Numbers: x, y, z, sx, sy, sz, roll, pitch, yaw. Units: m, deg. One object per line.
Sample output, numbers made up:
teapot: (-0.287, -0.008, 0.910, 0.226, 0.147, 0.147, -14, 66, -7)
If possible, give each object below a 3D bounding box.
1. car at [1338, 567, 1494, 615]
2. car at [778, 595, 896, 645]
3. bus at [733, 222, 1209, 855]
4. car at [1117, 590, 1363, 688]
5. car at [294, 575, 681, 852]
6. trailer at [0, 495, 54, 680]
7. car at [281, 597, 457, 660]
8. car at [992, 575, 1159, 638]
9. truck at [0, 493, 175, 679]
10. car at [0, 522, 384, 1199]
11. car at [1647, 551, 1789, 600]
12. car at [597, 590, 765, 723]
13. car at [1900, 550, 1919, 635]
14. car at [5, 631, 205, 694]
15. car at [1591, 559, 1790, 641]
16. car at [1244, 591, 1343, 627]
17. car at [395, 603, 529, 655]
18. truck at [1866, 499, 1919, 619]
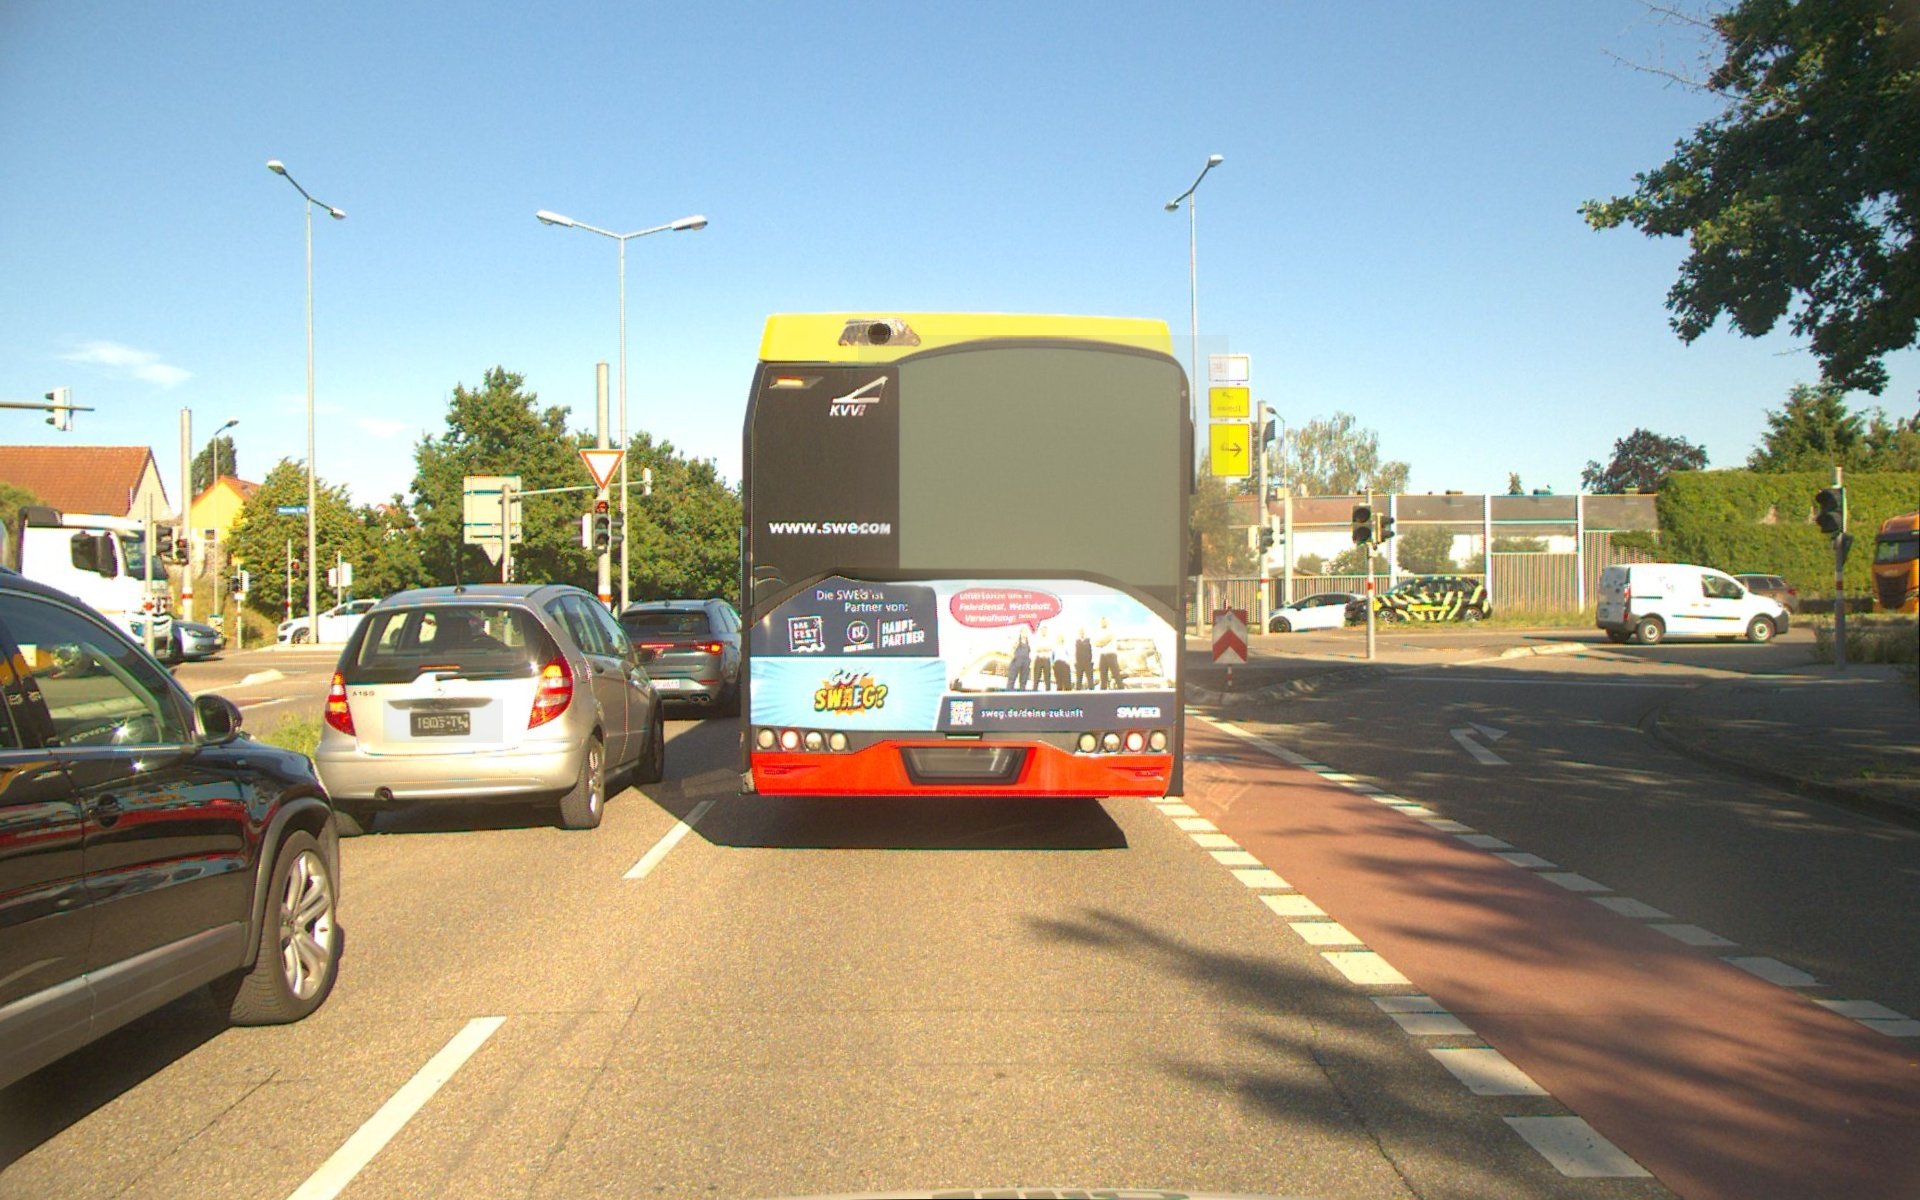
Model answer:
car: (13.209, -0.236, 47.992, 4.078, 1.325, 1.573, 1, -1, -4)
car: (-4.178, 0.664, 55.890, 3.910, 1.640, 1.693, -1, 0, -7)
bus: (-0.024, -0.344, 14.927, 2.543, 3.393, 11.981, 1, 0, -1)
car: (4.071, 0.538, 24.298, 3.447, 1.325, 1.576, 1, 1, 8)
car: (-3.228, 0.661, 12.141, 1.718, 1.648, 4.033, -1, 1, -1)
trailer: (-25.041, -0.208, 33.681, 11.274, 3.761, 2.388, -1, 0, -12)
car: (-16.985, 0.834, 47.763, 4.443, 1.745, 1.996, 1, -1, -9)
car: (2.979, 0.178, 43.248, 4.139, 1.590, 1.761, 1, -1, -6)
truck: (-19.376, -0.283, 34.643, 4.708, 3.760, 2.408, 0, 0, -6)
car: (-3.154, 0.704, 4.530, 1.784, 1.703, 4.001, -2, -1, -1)
car: (24.364, -0.770, 53.208, 3.911, 1.467, 1.563, 1, -1, -7)
car: (-3.438, 0.666, 20.928, 1.556, 1.512, 3.681, -1, -1, -1)
car: (16.524, -0.098, 25.999, 3.355, 1.318, 1.448, 1, -1, -26)
car: (-19.557, 1.413, 37.947, 3.776, 1.336, 1.504, 0, -1, -10)
car: (17.100, 0.007, 38.808, 4.028, 1.832, 1.457, -1, -1, -2)
car: (12.191, 0.320, 60.526, 3.506, 1.287, 1.354, 0, 0, 12)
car: (-16.204, 0.936, 53.983, 3.910, 1.640, 1.693, -1, 0, -7)
truck: (35.409, -1.415, 57.859, 6.277, 4.068, 2.469, 0, 0, -8)
